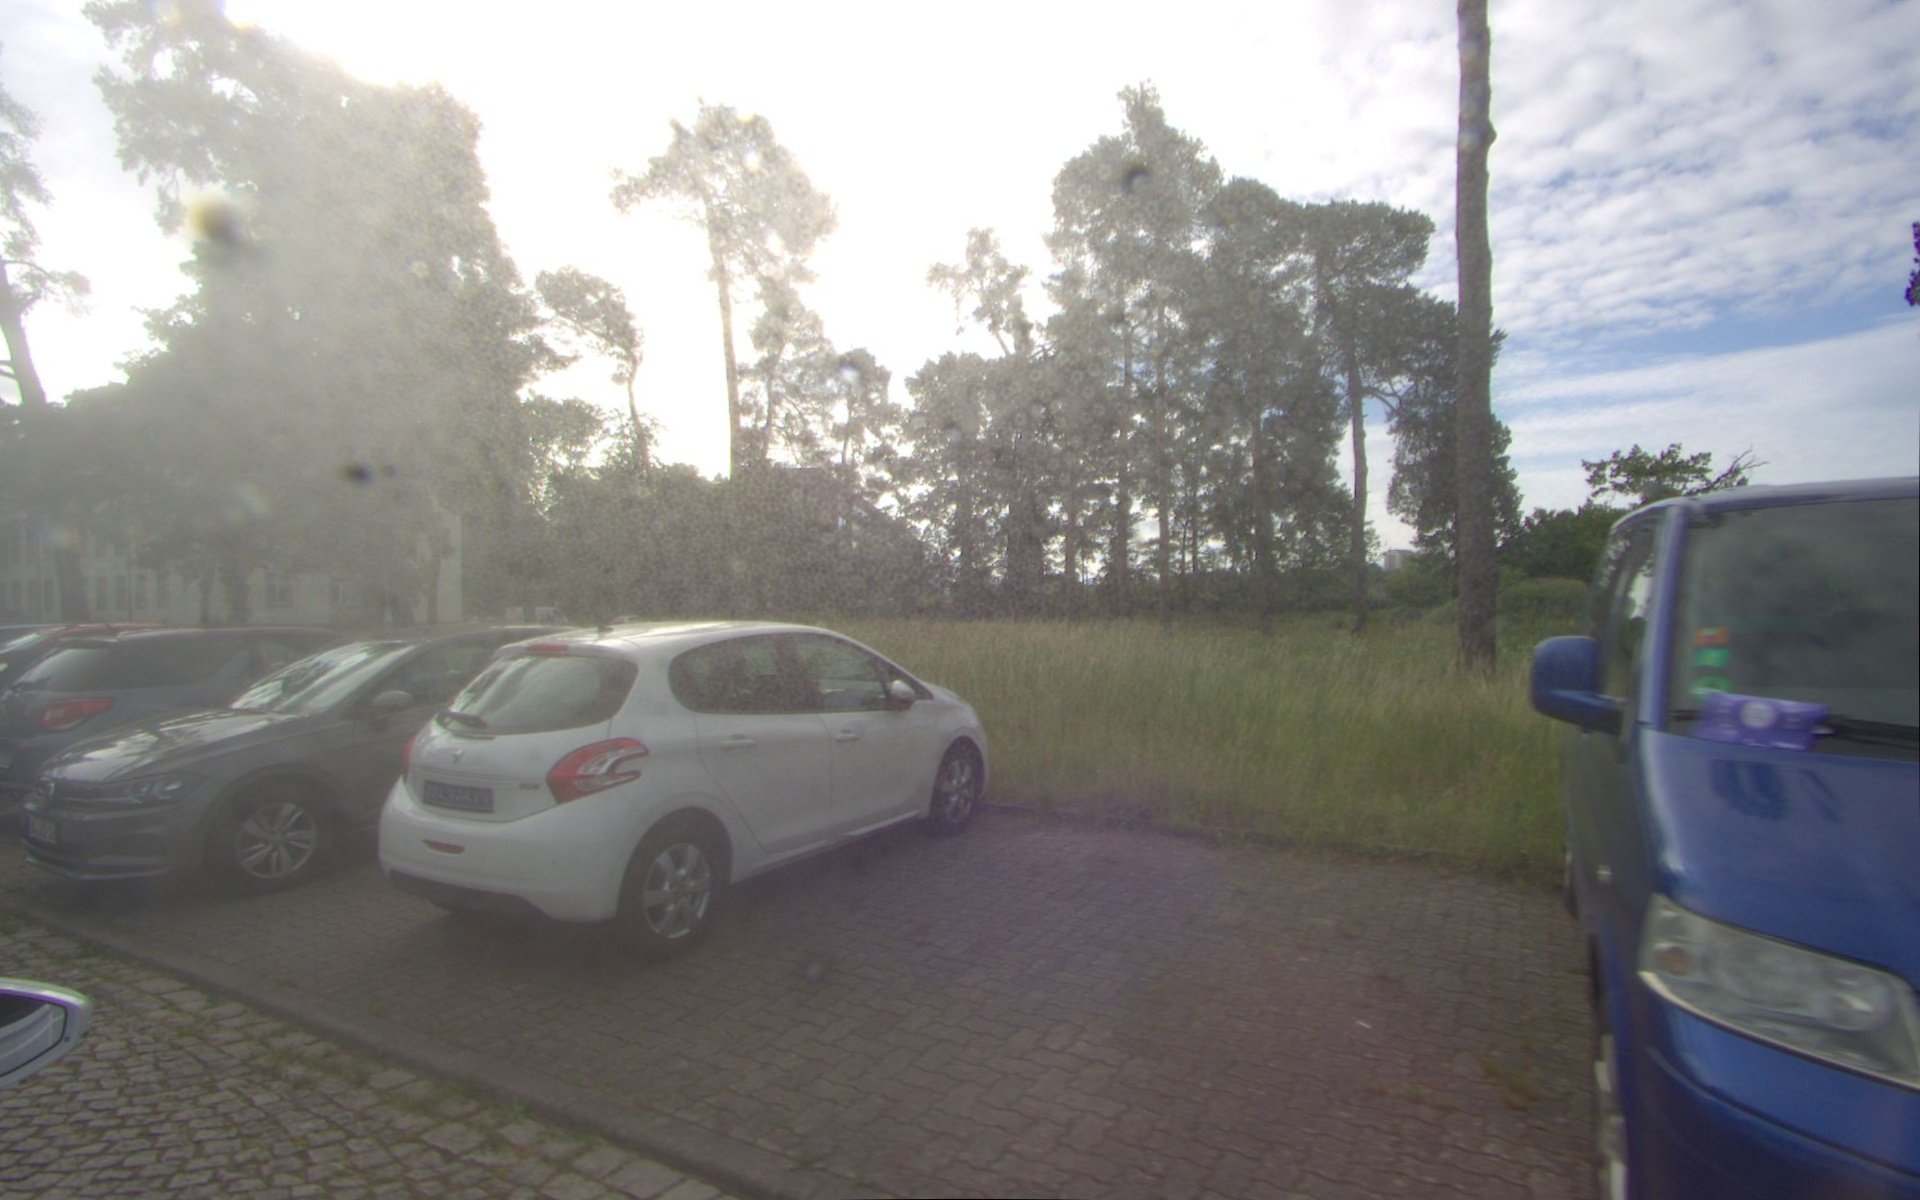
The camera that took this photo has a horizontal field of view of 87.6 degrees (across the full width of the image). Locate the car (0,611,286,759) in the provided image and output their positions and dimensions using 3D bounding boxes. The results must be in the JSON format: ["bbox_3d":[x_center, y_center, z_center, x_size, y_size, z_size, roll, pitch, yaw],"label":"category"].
[{"bbox_3d":[-10.379,0.910,11.475,1.658,1.496,4.101,0,0,28],"label":"car"}]

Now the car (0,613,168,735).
[{"bbox_3d":[-12.590,0.919,12.295,1.726,1.456,4.187,0,0,23],"label":"car"}]

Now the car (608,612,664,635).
[{"bbox_3d":[-26.638,1.989,82.360,1.872,1.826,4.127,-1,-2,32],"label":"car"}]

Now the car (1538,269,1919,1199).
[{"bbox_3d":[3.056,0.544,3.168,1.936,2.031,4.791,0,0,28],"label":"car"}]

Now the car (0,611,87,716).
[{"bbox_3d":[-14.932,0.931,13.689,1.679,1.499,4.233,0,0,19],"label":"car"}]

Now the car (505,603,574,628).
[{"bbox_3d":[-36.335,1.379,86.694,2.075,2.045,5.295,-1,-2,31],"label":"car"}]

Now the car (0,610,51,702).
[{"bbox_3d":[-16.901,0.933,15.312,1.607,1.483,4.135,0,0,25],"label":"car"}]

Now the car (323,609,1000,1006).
[{"bbox_3d":[-1.371,0.827,5.917,1.739,1.498,3.648,0,0,30],"label":"car"}]

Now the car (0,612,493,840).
[{"bbox_3d":[-6.244,0.894,8.848,1.717,1.507,3.500,0,0,29],"label":"car"}]

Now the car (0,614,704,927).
[{"bbox_3d":[-3.957,0.874,7.158,1.739,1.466,4.124,0,0,30],"label":"car"}]

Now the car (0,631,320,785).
[{"bbox_3d":[-8.636,0.998,9.875,1.604,1.239,3.580,0,0,31],"label":"car"}]
